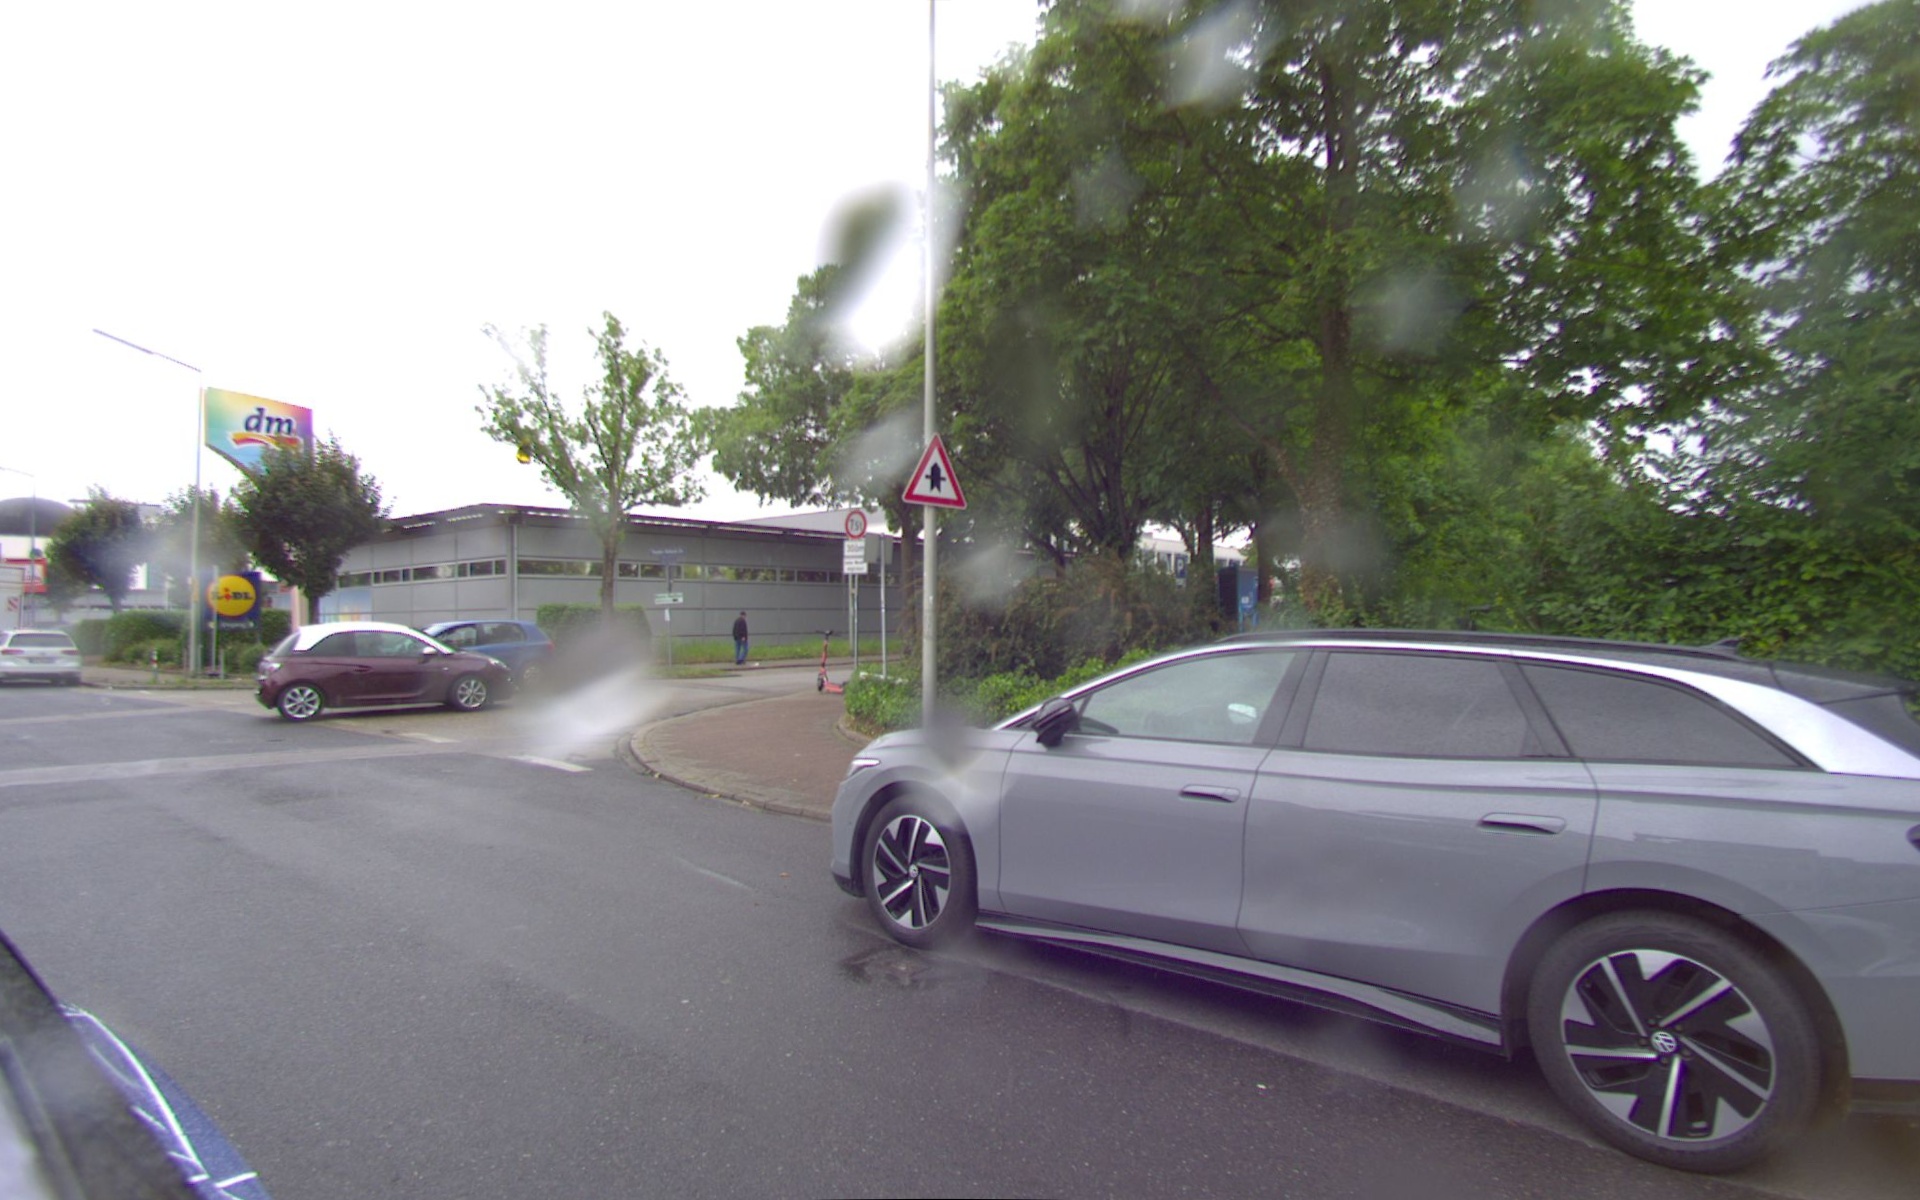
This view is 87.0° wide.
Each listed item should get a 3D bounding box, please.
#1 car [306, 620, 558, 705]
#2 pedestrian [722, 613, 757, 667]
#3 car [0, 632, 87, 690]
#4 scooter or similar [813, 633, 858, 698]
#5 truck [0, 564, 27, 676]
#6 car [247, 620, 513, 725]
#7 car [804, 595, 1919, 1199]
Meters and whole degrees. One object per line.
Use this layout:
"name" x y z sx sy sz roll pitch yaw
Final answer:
"car" -10.026 1.145 19.467 1.735 1.452 3.947 -2 -3 39
"pedestrian" -6.929 1.251 31.761 0.757 1.686 0.772 -2 -2 37
"car" -24.824 1.574 26.865 4.488 1.445 1.817 -2 -3 41
"scooter or similar" -2.371 1.226 19.149 0.280 1.184 1.061 1 -2 -42
"truck" -35.828 0.751 36.100 7.863 3.775 2.852 -2 -2 41
"car" -9.199 1.081 16.157 3.518 1.466 1.642 1 -1 -35
"car" 1.621 0.854 4.343 4.743 1.540 1.791 -1 -5 40
